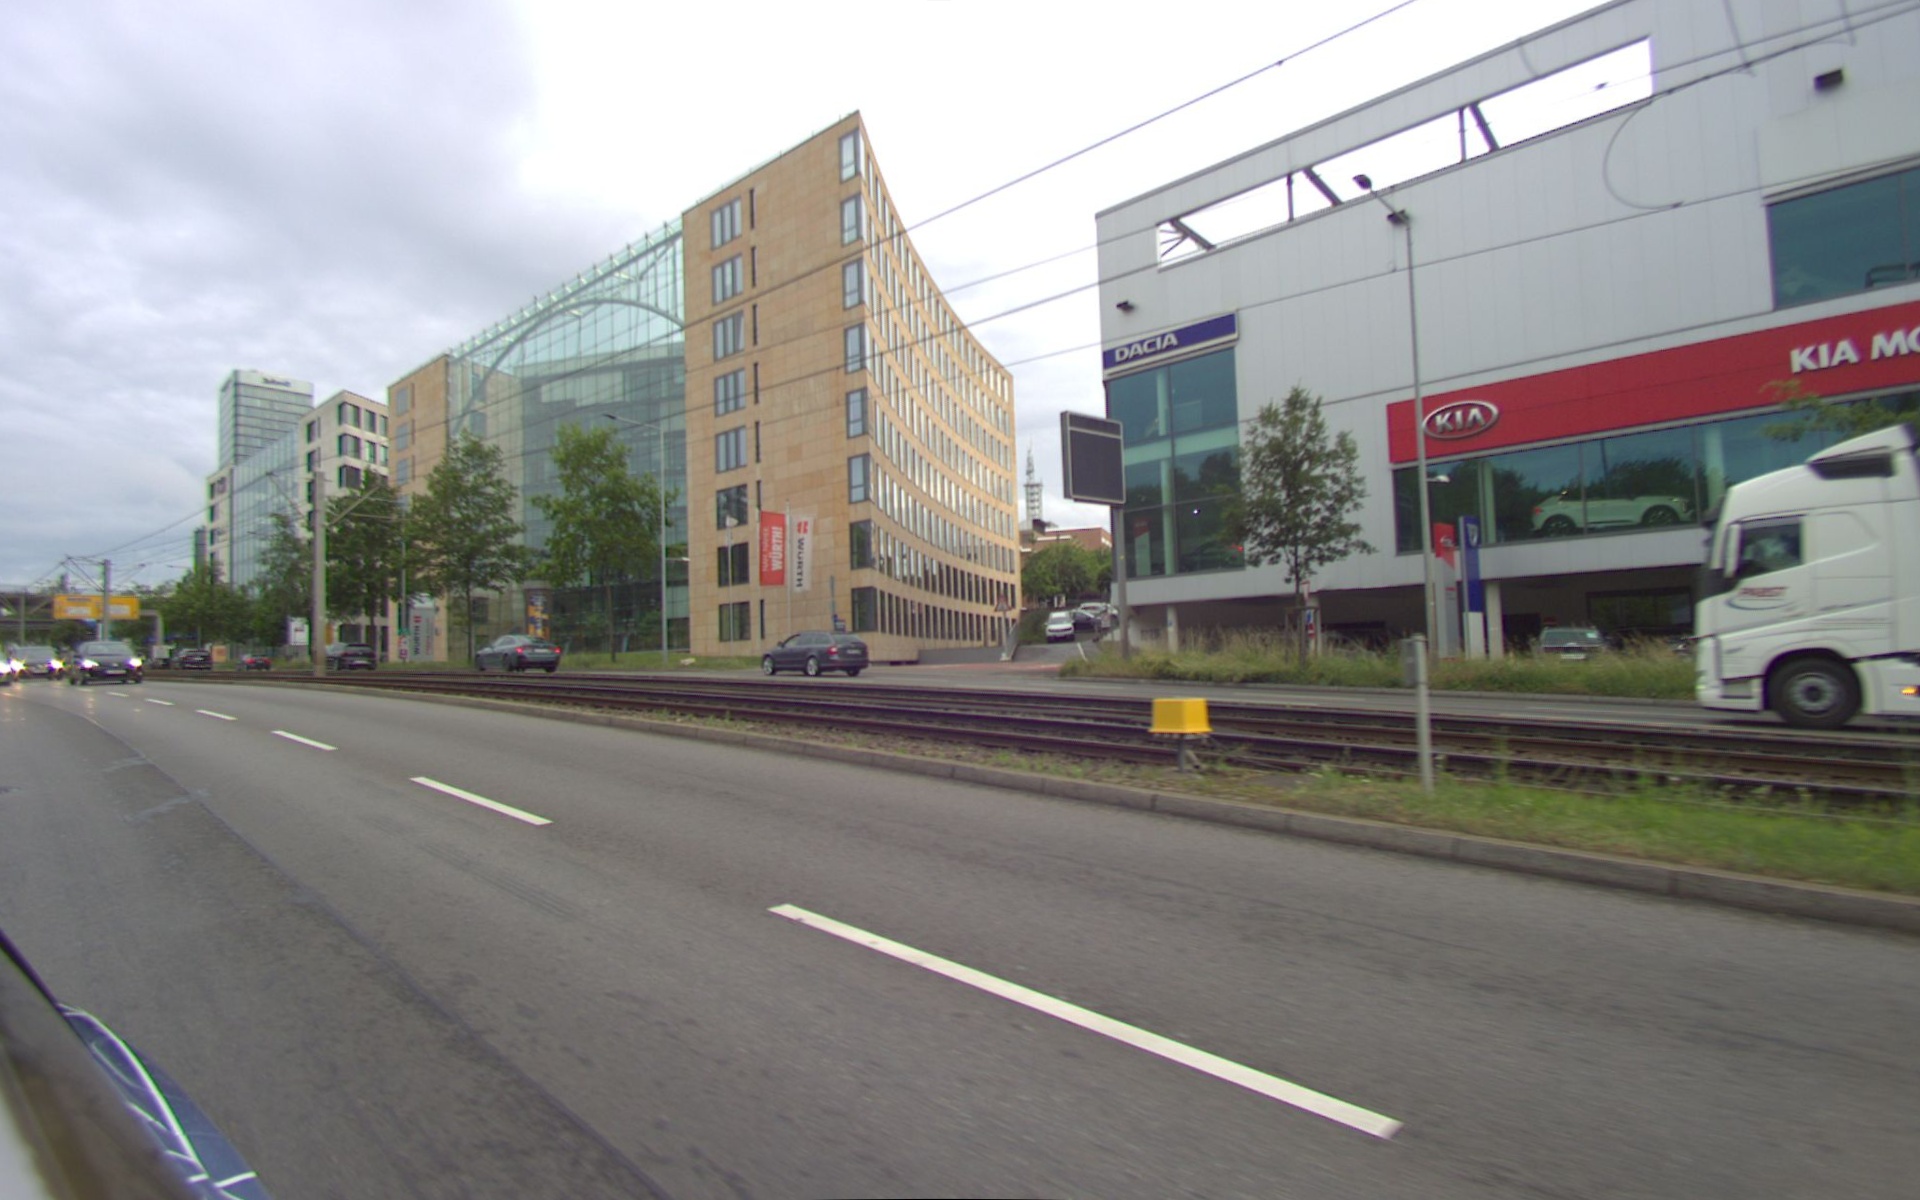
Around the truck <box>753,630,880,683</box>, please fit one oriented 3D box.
[{"bbox_3d":[-4.712,1.776,32.843,1.918,1.580,4.551,3,-3,-40],"label":"truck"}]

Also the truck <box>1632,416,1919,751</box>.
[{"bbox_3d":[17.156,-0.457,9.928,17.205,4.212,3.008,-3,-2,44],"label":"truck"}]

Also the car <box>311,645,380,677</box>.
[{"bbox_3d":[-30.334,2.998,49.897,4.236,1.473,1.650,-2,-4,41],"label":"car"}]

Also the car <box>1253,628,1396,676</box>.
[{"bbox_3d":[14.412,2.032,40.198,4.940,1.738,1.972,-3,-1,43],"label":"car"}]

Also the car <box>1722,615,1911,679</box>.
[{"bbox_3d":[24.655,1.327,29.396,1.997,1.677,4.624,-1,-2,9],"label":"car"}]

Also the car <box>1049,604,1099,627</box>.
[{"bbox_3d":[9.386,1.263,83.026,3.956,1.776,1.877,1,0,10],"label":"car"}]

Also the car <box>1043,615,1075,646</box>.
[{"bbox_3d":[6.468,1.953,65.673,1.861,1.908,3.990,1,0,8],"label":"car"}]

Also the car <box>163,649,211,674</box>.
[{"bbox_3d":[-54.773,4.347,71.700,4.382,1.628,1.787,-2,-1,40],"label":"car"}]

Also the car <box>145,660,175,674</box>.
[{"bbox_3d":[-89.160,7.511,112.794,4.428,1.497,1.821,-4,-7,42],"label":"car"}]

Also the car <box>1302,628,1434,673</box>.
[{"bbox_3d":[17.772,2.194,44.242,4.937,1.805,1.973,-3,-1,41],"label":"car"}]

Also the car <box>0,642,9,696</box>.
[{"bbox_3d":[-36.129,2.532,36.936,4.377,1.883,1.770,-2,-1,42],"label":"car"}]

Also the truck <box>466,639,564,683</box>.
[{"bbox_3d":[-17.228,2.326,39.082,1.919,1.580,4.595,3,-4,-45],"label":"truck"}]

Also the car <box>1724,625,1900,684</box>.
[{"bbox_3d":[20.764,1.288,24.913,1.858,1.317,4.307,-1,-2,20],"label":"car"}]

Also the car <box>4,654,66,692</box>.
[{"bbox_3d":[-43.202,3.379,47.231,4.377,1.556,1.770,-2,-1,42],"label":"car"}]

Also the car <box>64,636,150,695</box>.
[{"bbox_3d":[-30.107,2.241,35.673,4.377,1.883,1.770,-2,-1,42],"label":"car"}]

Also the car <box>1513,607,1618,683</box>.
[{"bbox_3d":[16.977,1.218,28.600,2.009,1.947,4.928,-1,-2,25],"label":"car"}]

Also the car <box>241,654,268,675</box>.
[{"bbox_3d":[-58.972,5.371,84.599,1.645,1.473,4.250,-1,-1,-33],"label":"car"}]

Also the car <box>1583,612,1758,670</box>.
[{"bbox_3d":[25.462,1.479,36.390,4.937,1.925,1.973,-3,-1,41],"label":"car"}]
